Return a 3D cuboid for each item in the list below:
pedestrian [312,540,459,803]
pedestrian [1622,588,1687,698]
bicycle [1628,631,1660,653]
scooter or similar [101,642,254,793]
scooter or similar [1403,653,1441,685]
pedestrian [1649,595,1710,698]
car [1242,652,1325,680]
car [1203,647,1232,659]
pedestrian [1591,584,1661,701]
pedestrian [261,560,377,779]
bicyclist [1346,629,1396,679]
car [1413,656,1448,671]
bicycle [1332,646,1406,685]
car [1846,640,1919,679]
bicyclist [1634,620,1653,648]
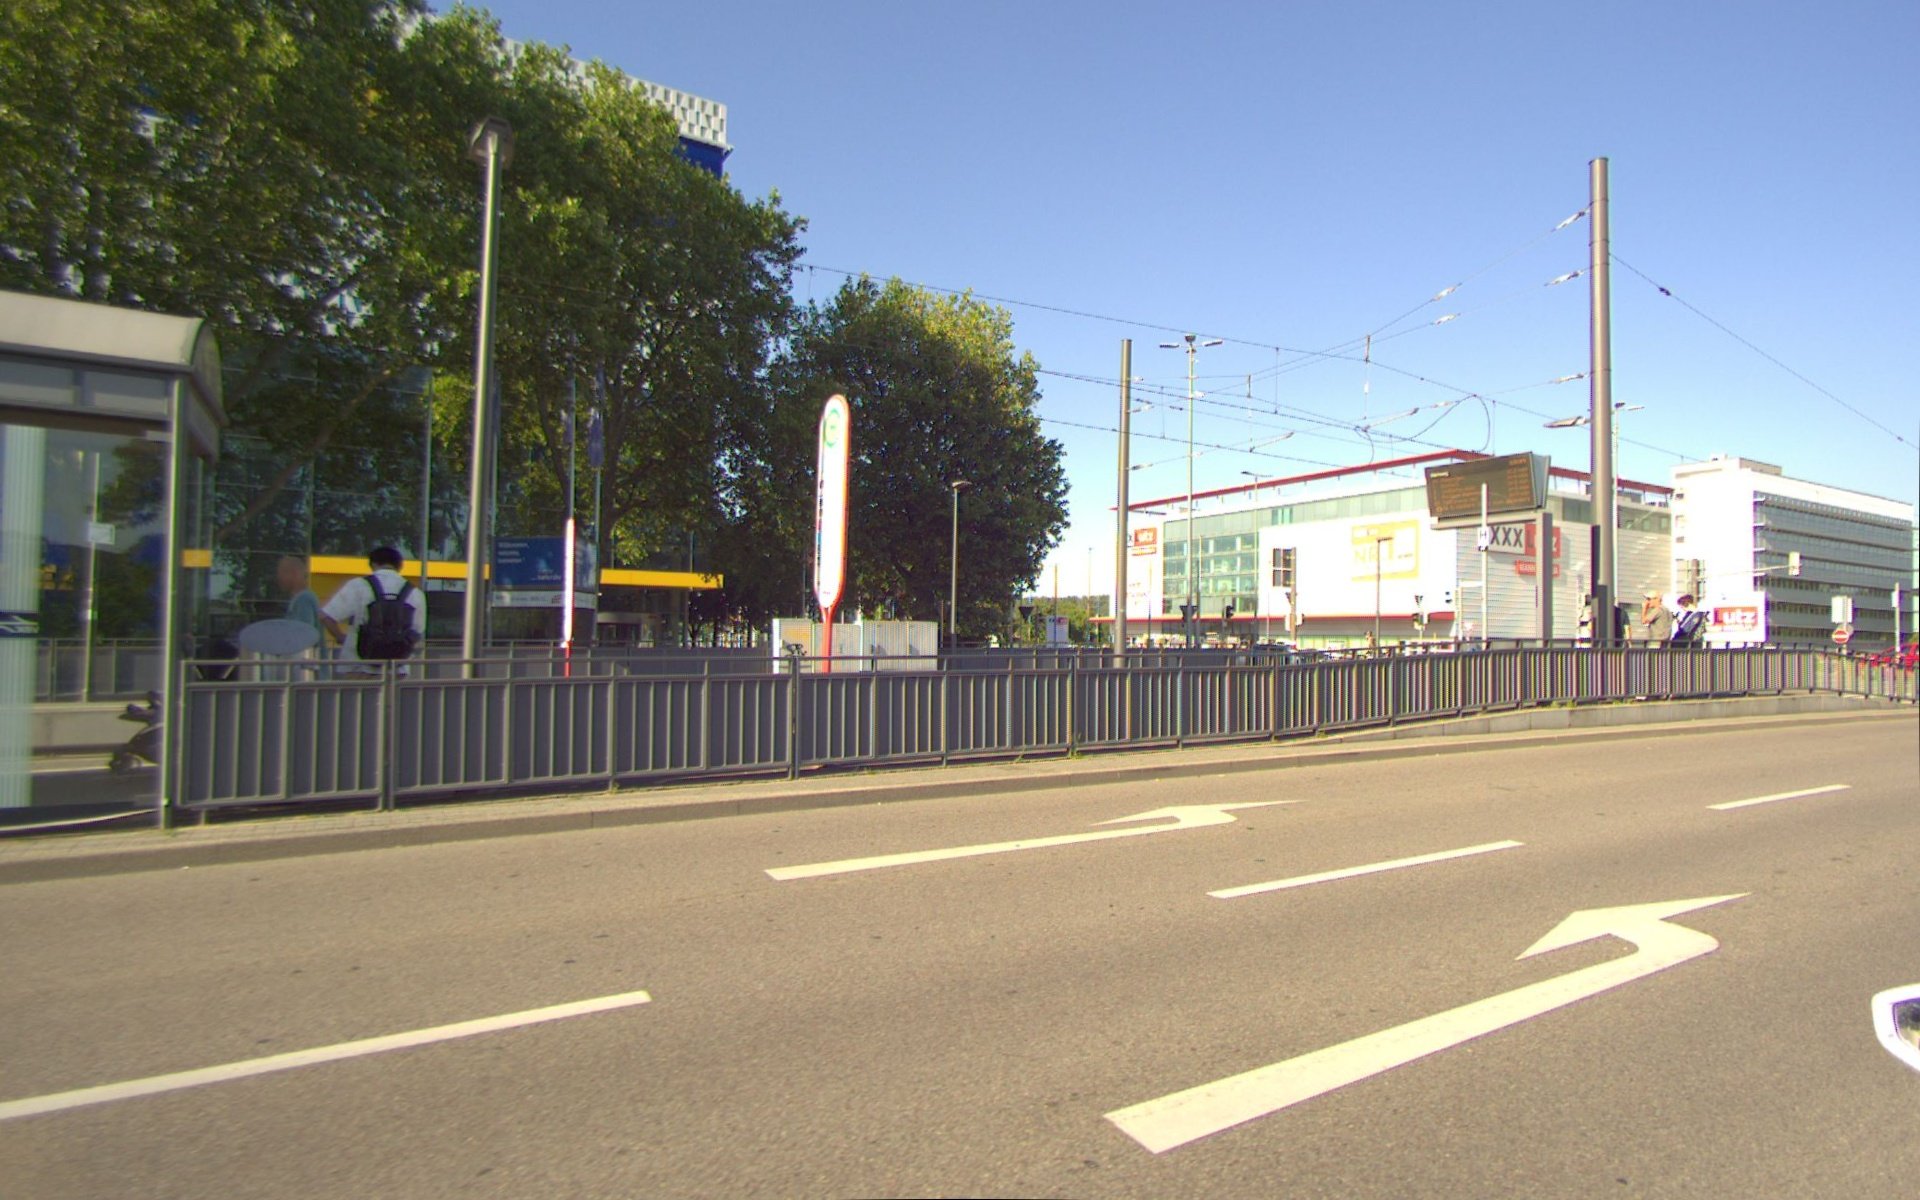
[{"bbox_3d":[-4.103,0.485,7.166,0.814,1.738,0.688,2,-1,-36],"label":"pedestrian"},{"bbox_3d":[11.214,0.688,16.220,0.751,1.715,0.531,2,0,-29],"label":"pedestrian"},{"bbox_3d":[38.565,2.381,56.627,1.966,1.183,0.585,1,0,-27],"label":"bicycle"},{"bbox_3d":[-5.691,0.820,7.312,0.811,1.000,0.564,2,0,-44],"label":"scooter or similar"},{"bbox_3d":[15.208,2.271,33.037,1.048,1.028,0.787,-1,-4,32],"label":"scooter or similar"},{"bbox_3d":[11.986,0.763,16.742,0.742,1.679,0.531,2,0,-29],"label":"pedestrian"},{"bbox_3d":[18.359,3.774,57.191,1.995,1.517,4.220,3,-5,-33],"label":"car"},{"bbox_3d":[37.198,7.647,145.151,3.961,1.640,1.860,1,0,-36],"label":"car"},{"bbox_3d":[10.562,0.658,15.935,0.528,1.799,0.704,2,0,-27],"label":"pedestrian"},{"bbox_3d":[-5.002,0.521,7.840,0.637,1.617,0.551,2,-1,-44],"label":"pedestrian"},{"bbox_3d":[13.878,1.807,33.912,1.460,1.638,0.821,-1,-3,32],"label":"bicyclist"},{"bbox_3d":[59.098,8.002,126.222,4.401,1.725,1.909,1,0,-33],"label":"car"},{"bbox_3d":[13.812,2.208,33.937,2.240,1.234,0.713,-1,-4,32],"label":"bicycle"},{"bbox_3d":[37.395,2.359,39.421,1.740,1.478,3.580,1,-5,-12],"label":"car"},{"bbox_3d":[38.523,1.914,56.593,0.741,1.543,0.586,1,0,-27],"label":"bicyclist"}]
